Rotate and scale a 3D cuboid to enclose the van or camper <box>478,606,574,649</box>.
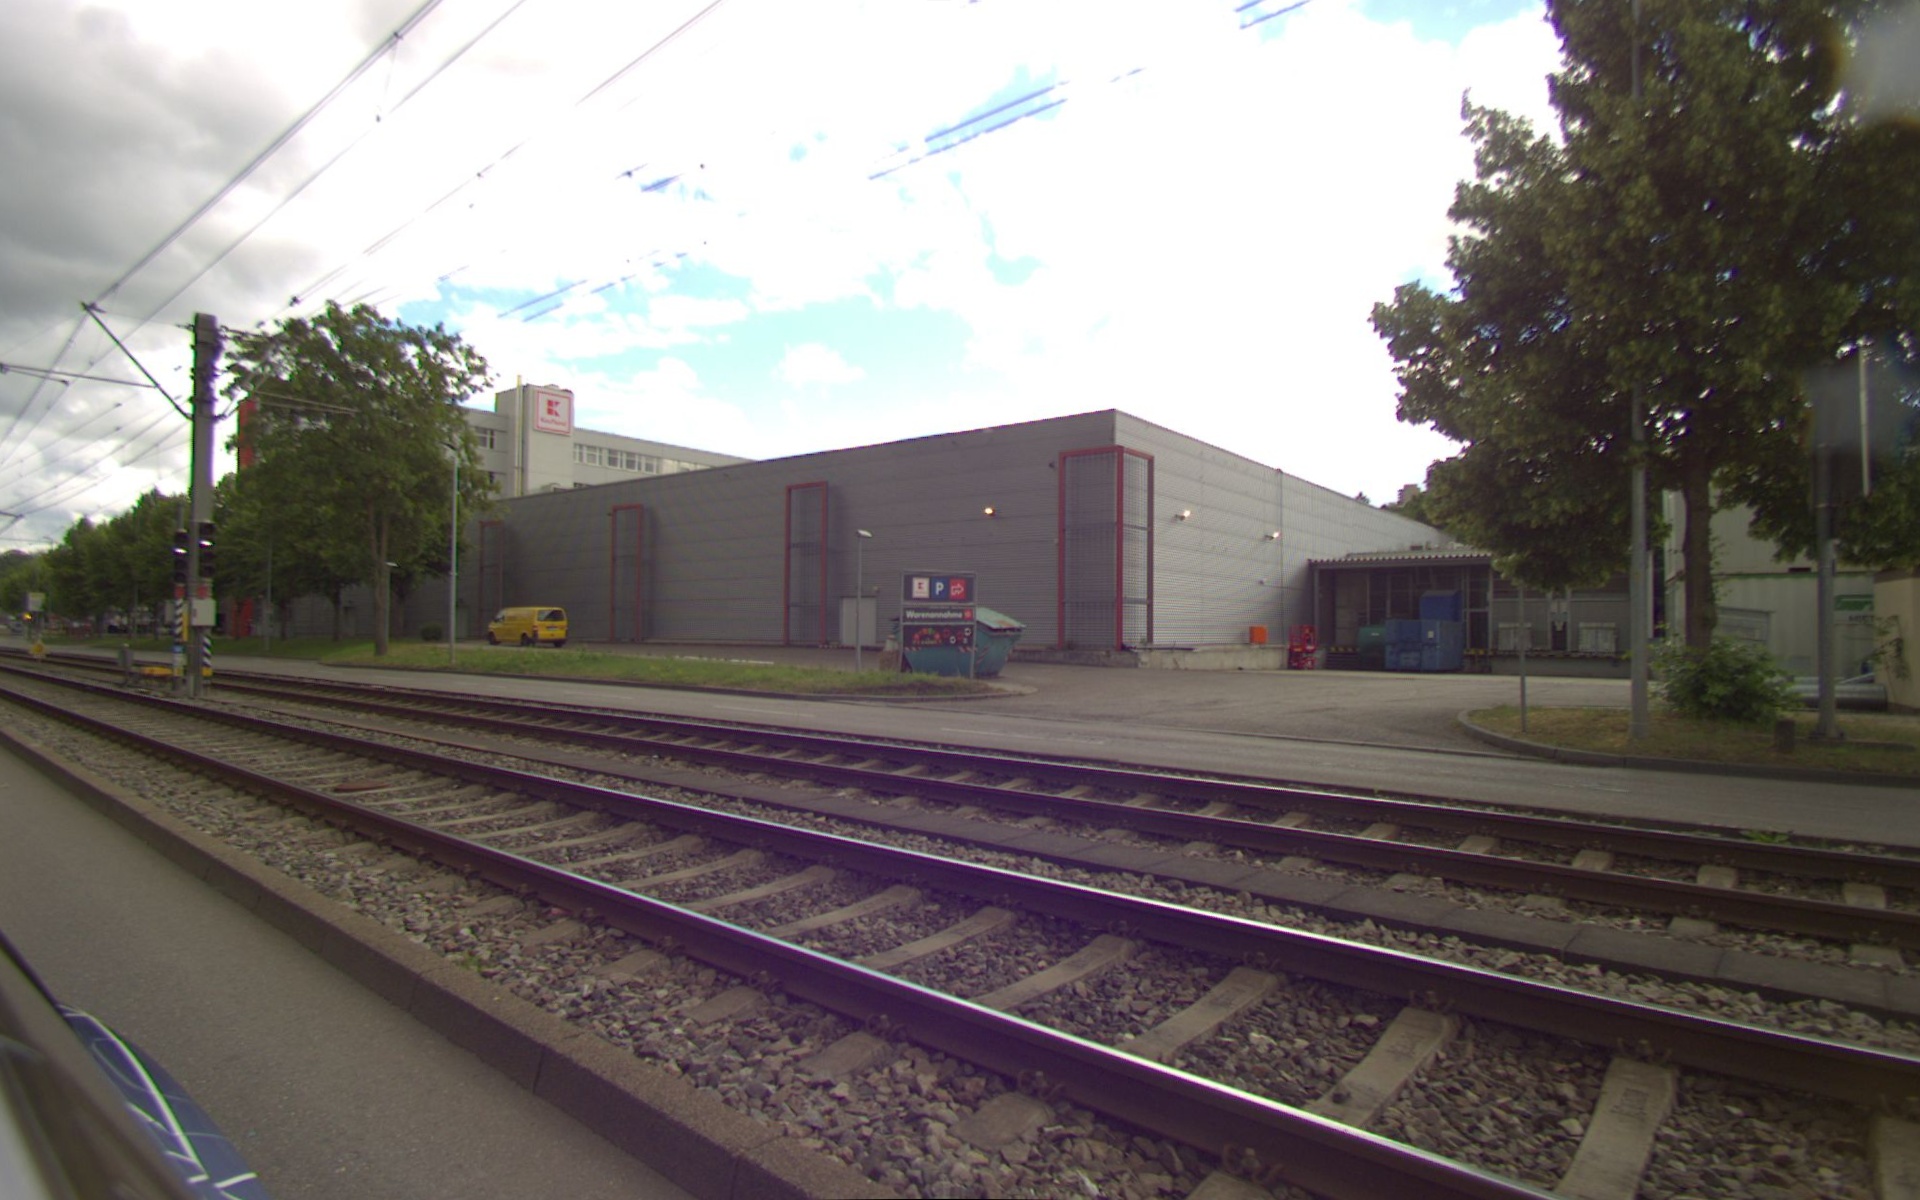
[{"bbox_3d":[-21.540,1.386,50.151,5.235,2.029,2.083,-1,-2,38],"label":"van or camper"}]
